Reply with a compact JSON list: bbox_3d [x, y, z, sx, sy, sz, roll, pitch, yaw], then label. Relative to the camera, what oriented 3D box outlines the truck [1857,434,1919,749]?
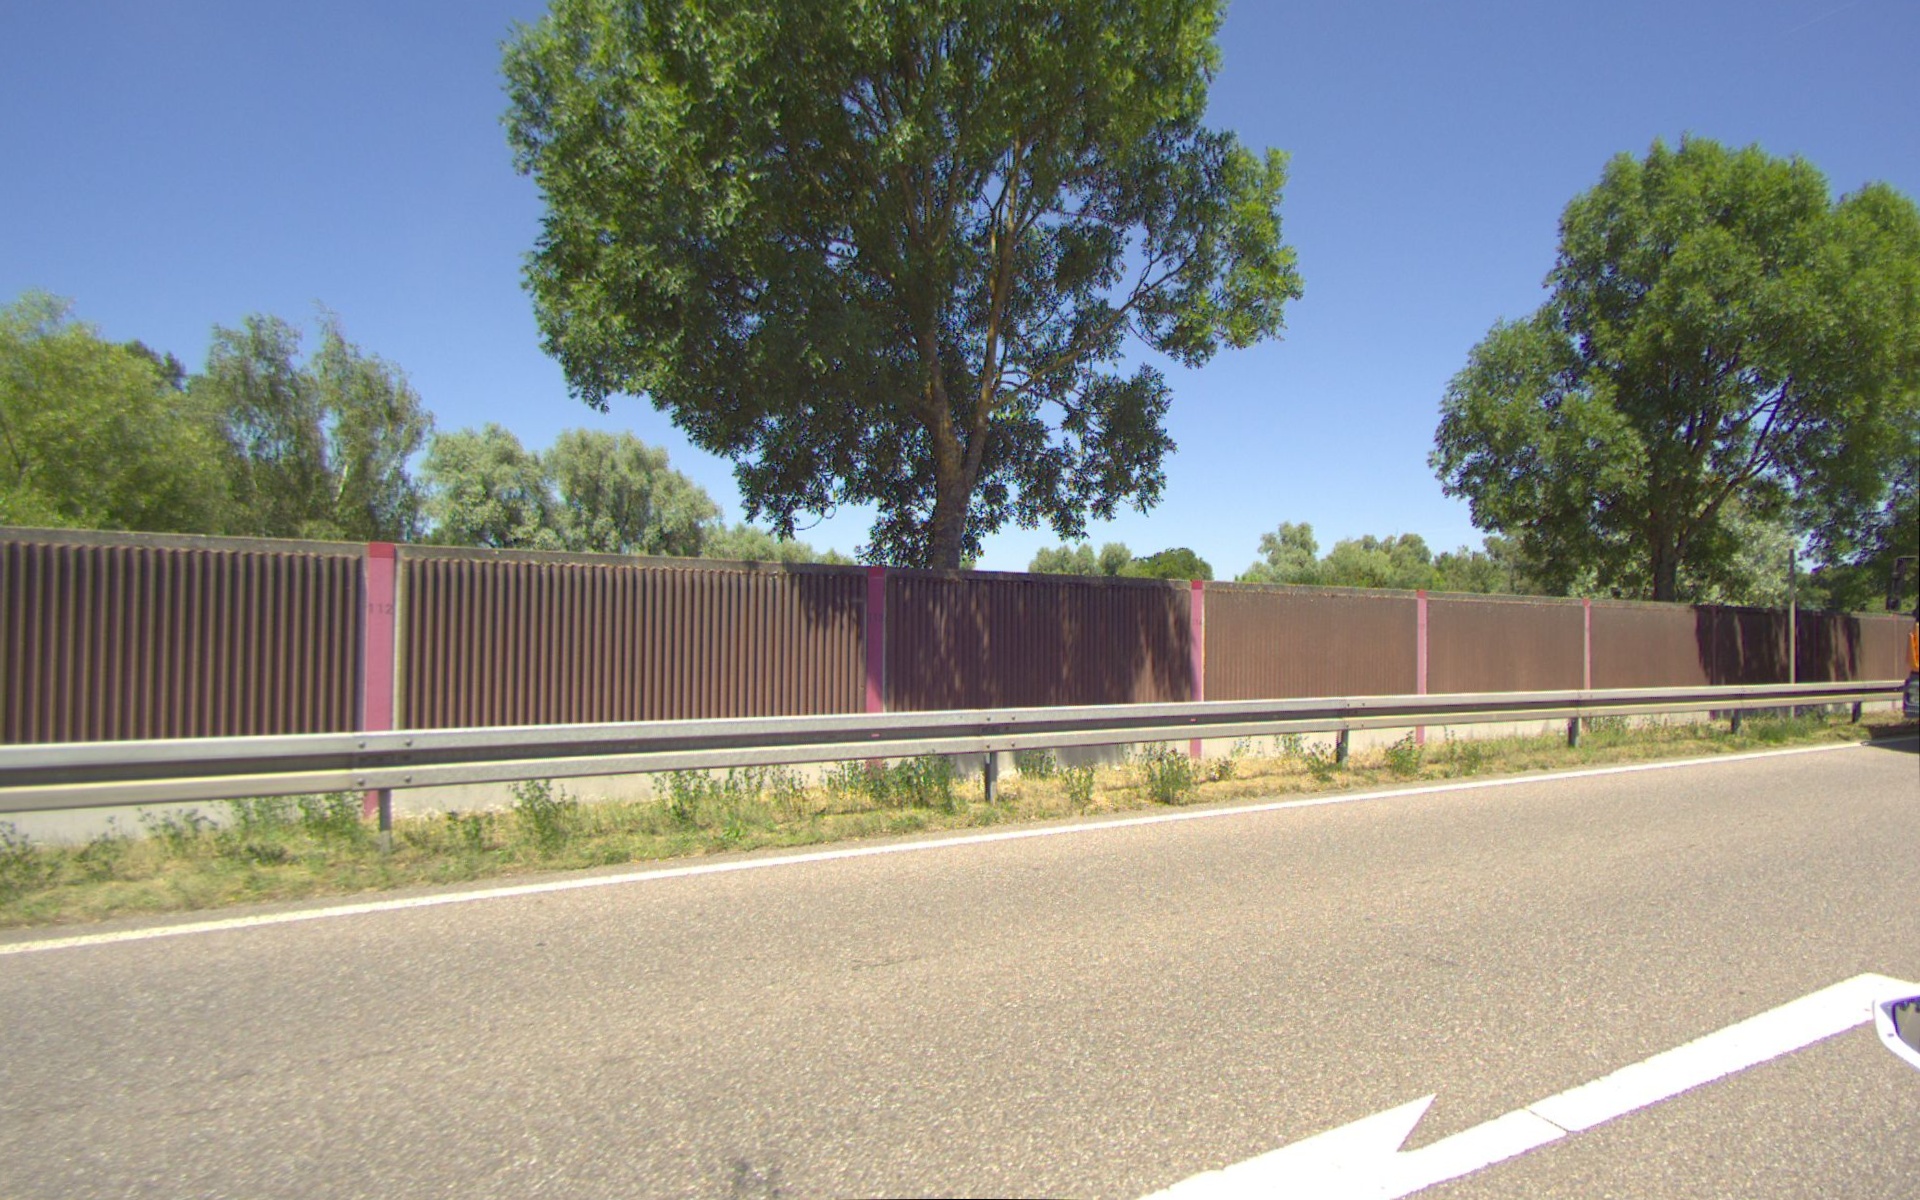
[{"bbox_3d":[16.221,0.017,14.035,9.215,3.891,2.779,2,0,-30],"label":"truck"}]
